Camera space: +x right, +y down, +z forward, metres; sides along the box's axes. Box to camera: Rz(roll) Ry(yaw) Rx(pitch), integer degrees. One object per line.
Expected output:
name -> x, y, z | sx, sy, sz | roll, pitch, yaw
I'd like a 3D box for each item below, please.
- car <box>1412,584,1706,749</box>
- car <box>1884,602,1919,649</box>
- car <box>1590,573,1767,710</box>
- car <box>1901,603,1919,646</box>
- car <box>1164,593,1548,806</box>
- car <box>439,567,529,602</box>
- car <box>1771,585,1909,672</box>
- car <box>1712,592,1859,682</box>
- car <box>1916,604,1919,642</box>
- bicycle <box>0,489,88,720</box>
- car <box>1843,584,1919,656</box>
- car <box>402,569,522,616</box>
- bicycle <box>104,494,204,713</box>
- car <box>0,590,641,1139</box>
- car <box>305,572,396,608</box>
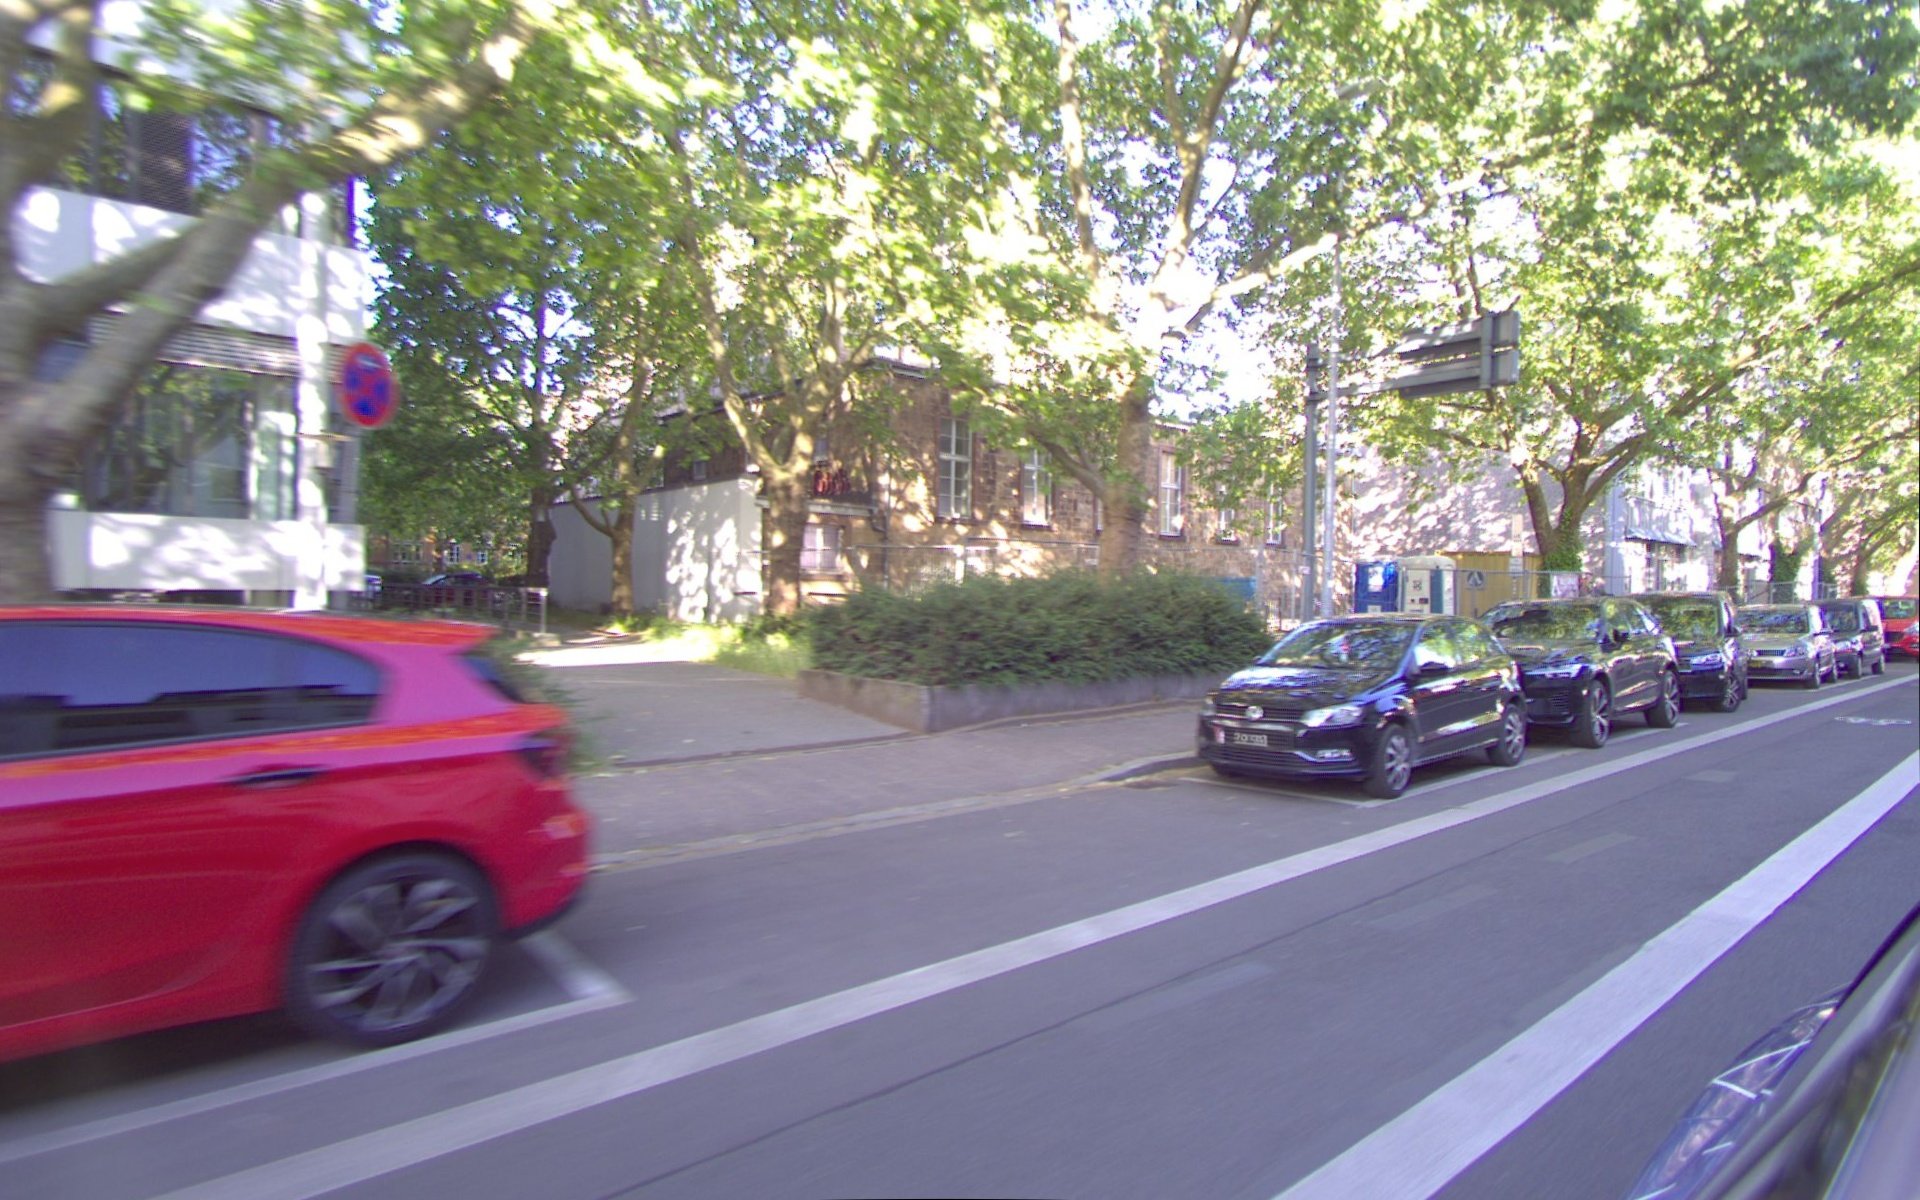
car -> 7.395, 0.681, 12.291 | 4.541, 1.648, 1.778 | 0, -1, -42
car -> 32.443, 0.834, 33.886 | 3.691, 1.504, 1.641 | 0, -2, -39
car -> 11.664, 0.591, 16.280 | 1.823, 1.865, 4.826 | -2, -1, 41
car -> 35.597, 0.874, 36.695 | 3.862, 1.530, 1.857 | 1, -2, -43
car -> 3.735, 0.729, 9.205 | 3.952, 1.523, 1.694 | 0, -1, -43
car -> -24.642, -0.773, 52.460 | 3.883, 1.742, 1.823 | 0, 0, -41
car -> 20.306, 0.623, 23.300 | 4.055, 1.836, 1.696 | 0, -1, -39
car -> 16.786, 0.689, 20.504 | 4.256, 1.648, 1.694 | 0, -1, -43
car -> 38.864, 0.893, 39.706 | 3.432, 1.494, 1.616 | 1, -2, -41
bicycle -> -9.197, 0.011, 10.057 | 0.729, 2.039, 2.603 | 1, 1, -40
car -> 28.545, 0.578, 30.685 | 5.083, 2.019, 2.080 | 0, -1, -42
car -> -19.386, -0.294, 39.447 | 3.883, 1.742, 1.823 | 0, 0, -41
bicycle -> -8.484, 0.005, 10.629 | 0.729, 2.039, 2.603 | 1, 1, -40
car -> -3.402, 0.737, 3.233 | 4.242, 1.498, 1.696 | 0, -1, -40
car -> -32.042, -0.495, 53.255 | 3.883, 1.823, 1.823 | 0, 0, -41
